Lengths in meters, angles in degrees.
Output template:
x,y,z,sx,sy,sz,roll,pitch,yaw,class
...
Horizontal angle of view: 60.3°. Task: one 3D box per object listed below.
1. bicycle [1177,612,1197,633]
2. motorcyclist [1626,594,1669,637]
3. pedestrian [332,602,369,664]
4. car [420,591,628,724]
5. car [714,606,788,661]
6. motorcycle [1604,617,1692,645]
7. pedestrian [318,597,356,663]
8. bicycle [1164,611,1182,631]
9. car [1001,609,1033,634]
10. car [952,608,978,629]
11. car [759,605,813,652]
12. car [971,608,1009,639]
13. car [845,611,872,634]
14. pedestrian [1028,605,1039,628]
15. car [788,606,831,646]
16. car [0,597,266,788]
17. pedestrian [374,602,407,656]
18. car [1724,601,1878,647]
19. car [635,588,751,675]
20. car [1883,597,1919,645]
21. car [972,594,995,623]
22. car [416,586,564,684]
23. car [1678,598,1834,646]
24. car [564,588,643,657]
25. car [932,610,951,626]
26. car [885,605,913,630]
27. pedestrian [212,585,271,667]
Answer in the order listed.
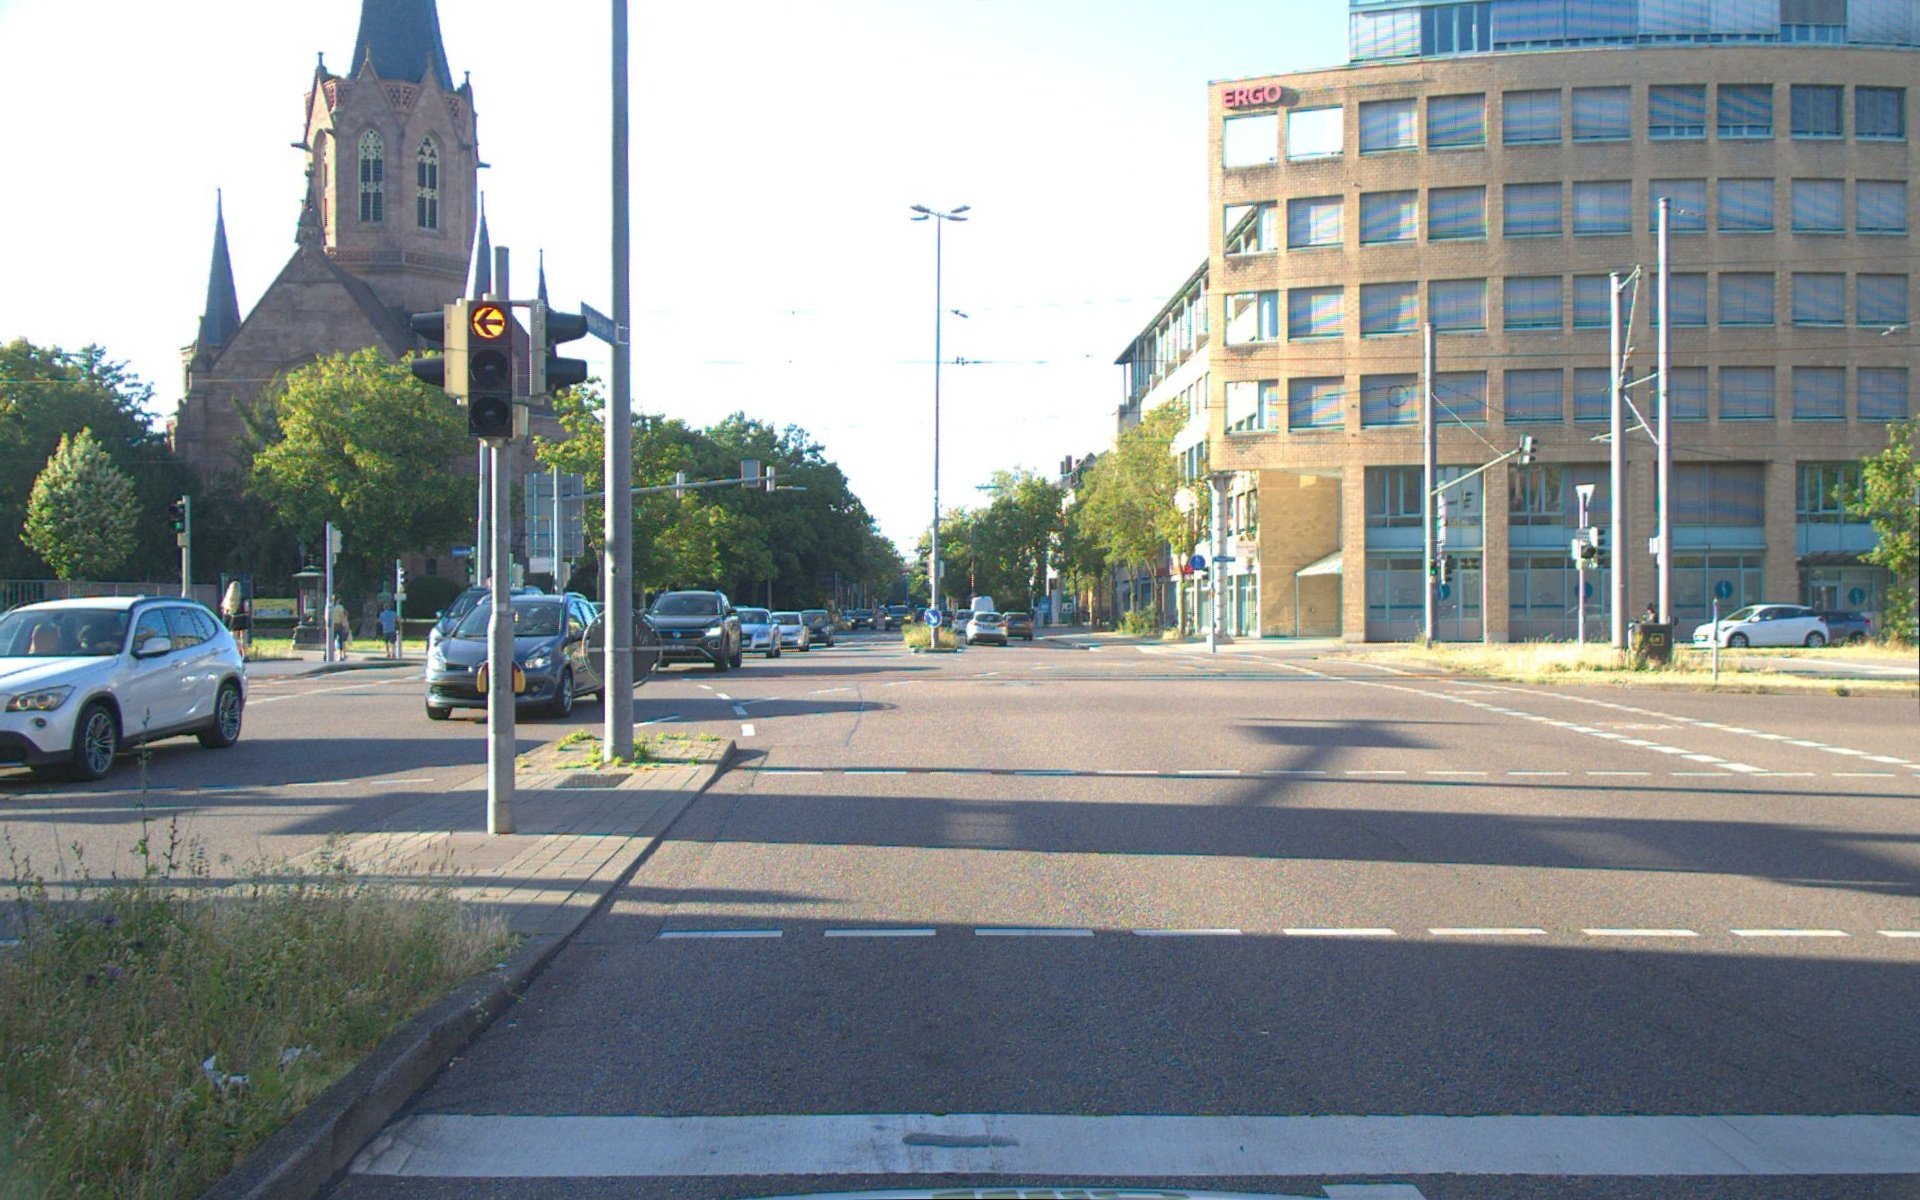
x,y,z,sx,sy,sz,roll,pitch,yaw,class
11.151,1.081,81.360,0.633,1.012,2.080,0,0,-2,bicycle
24.136,0.543,58.057,1.044,1.460,1.031,0,-1,-2,motorcyclist
-17.269,0.933,46.846,0.827,1.726,1.013,1,-1,-13,pedestrian
-5.439,0.653,21.099,1.559,1.497,3.985,-1,0,0,car
-6.055,0.944,48.189,1.674,1.450,4.101,-2,0,-1,car
24.124,1.085,58.049,2.663,0.981,1.031,0,-1,-2,motorcycle
-16.538,0.796,43.928,0.694,1.726,0.894,1,-1,-7,pedestrian
11.035,1.097,85.805,0.633,1.012,2.080,0,0,-2,bicycle
3.058,1.132,88.999,1.562,1.289,3.266,0,0,-1,car
0.281,1.128,102.174,1.562,1.289,3.266,0,0,-1,car
-6.360,1.021,60.800,1.641,1.571,3.805,-2,0,-1,car
1.309,1.030,73.405,1.562,1.289,3.266,0,0,-1,car
-7.964,1.806,129.609,1.953,1.754,4.591,-1,-1,-2,car
5.839,1.338,131.606,0.830,1.835,0.775,0,0,-1,pedestrian
-6.487,1.103,71.631,1.546,1.571,3.476,-2,0,-1,car
-8.233,0.760,15.510,1.717,1.514,4.247,-1,0,-1,car
-18.478,0.942,53.669,0.826,1.726,1.014,1,-1,-9,pedestrian
29.543,0.832,58.181,4.390,1.564,1.986,0,-1,-1,car
-5.285,0.580,33.217,1.641,1.571,4.102,-2,0,0,car
32.251,0.672,53.333,3.970,1.518,1.819,0,-1,-2,car
2.058,0.784,145.575,1.953,2.483,3.999,1,0,-1,car
-8.715,0.599,30.972,1.685,1.657,4.101,-2,0,-2,car
25.491,0.701,53.056,4.080,1.518,1.994,0,-1,-3,car
-8.879,0.537,41.345,1.505,1.620,2.806,-2,0,-4,car
-1.555,1.503,139.374,1.562,1.289,3.266,0,0,-1,car
-4.465,1.294,121.450,1.953,1.754,5.029,-1,-1,-2,car
-15.700,0.554,36.171,0.946,1.770,0.811,0,-1,-3,pedestrian
